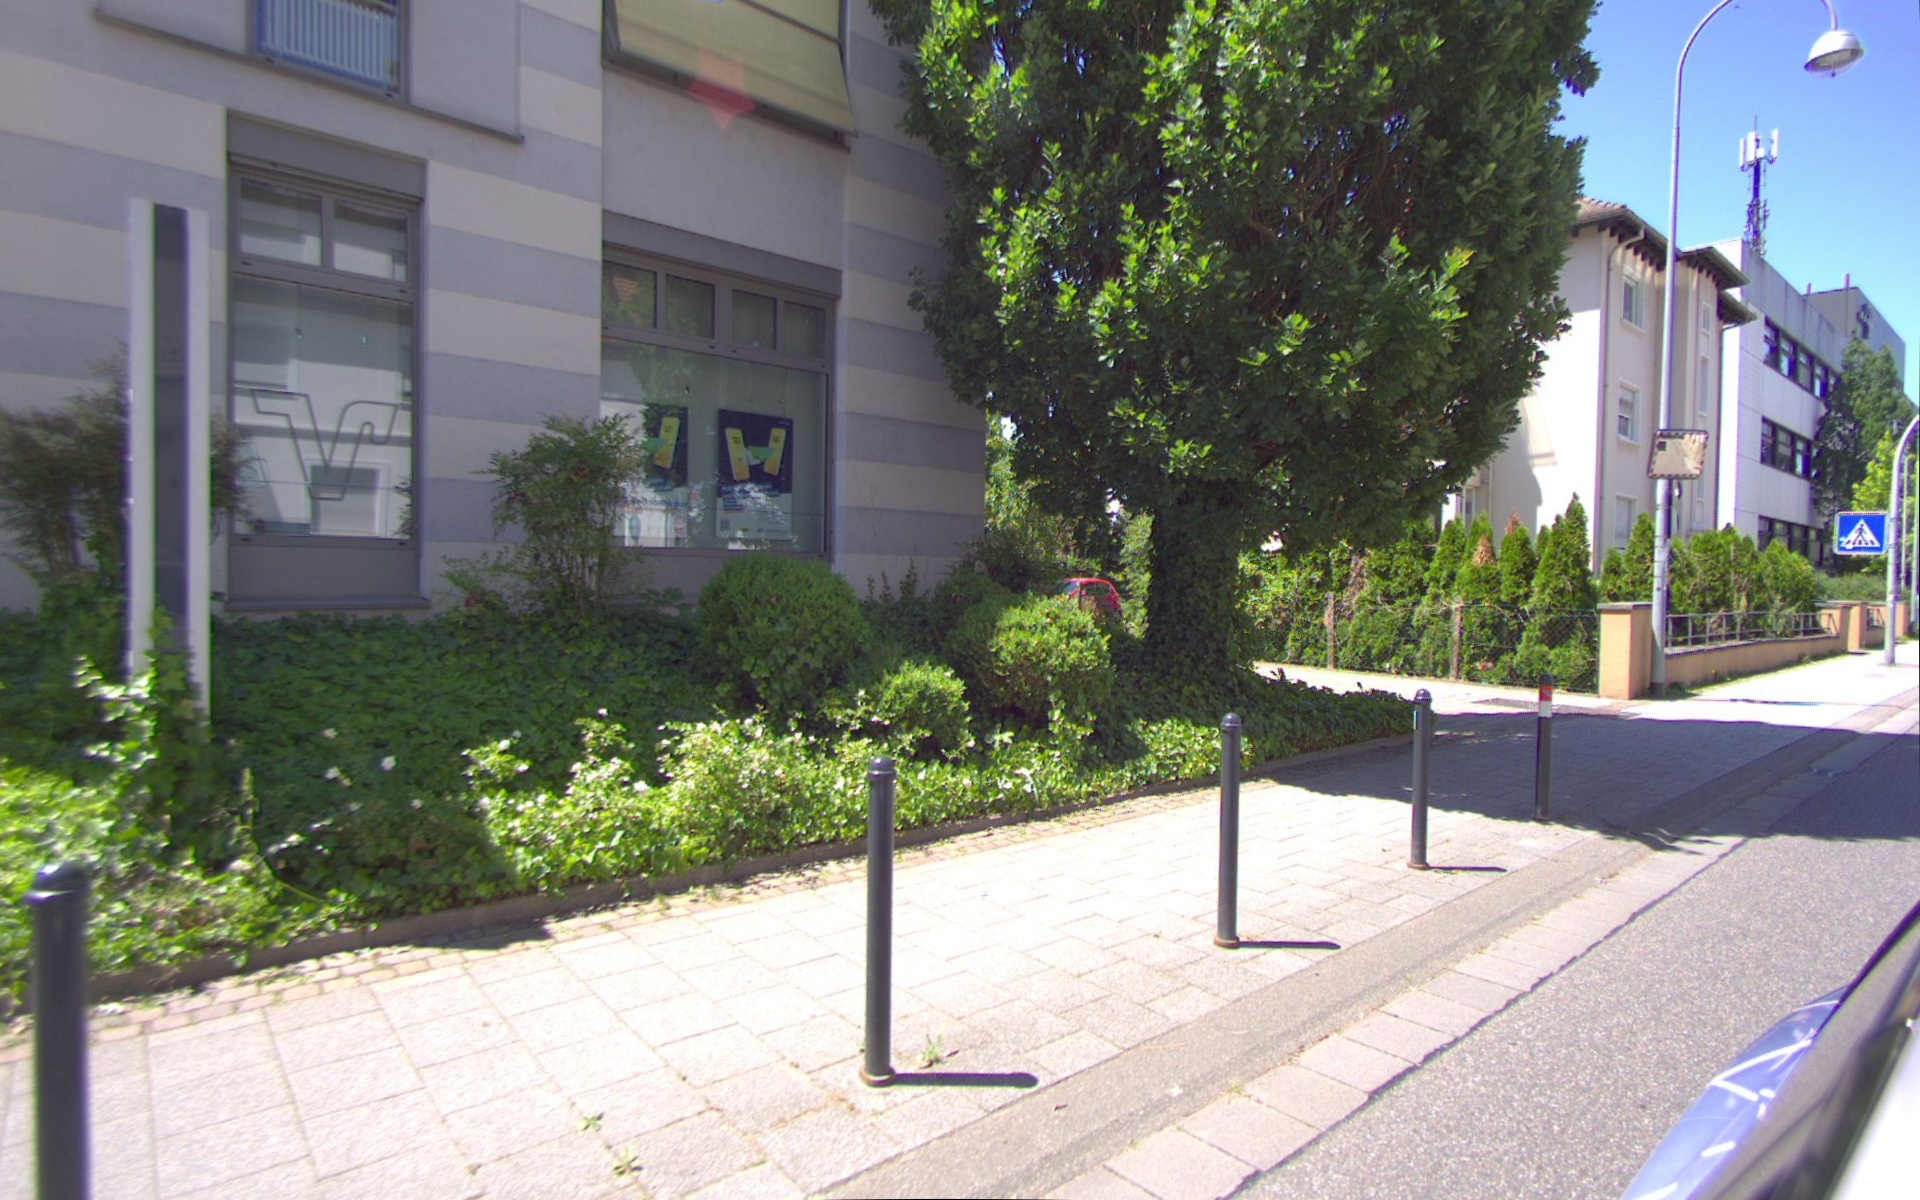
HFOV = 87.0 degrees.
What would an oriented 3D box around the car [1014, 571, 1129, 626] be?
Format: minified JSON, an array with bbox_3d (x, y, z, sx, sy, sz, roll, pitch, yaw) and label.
[{"bbox_3d":[3.301,-0.072,29.581,1.608,1.477,3.449,3,2,43],"label":"car"}]
